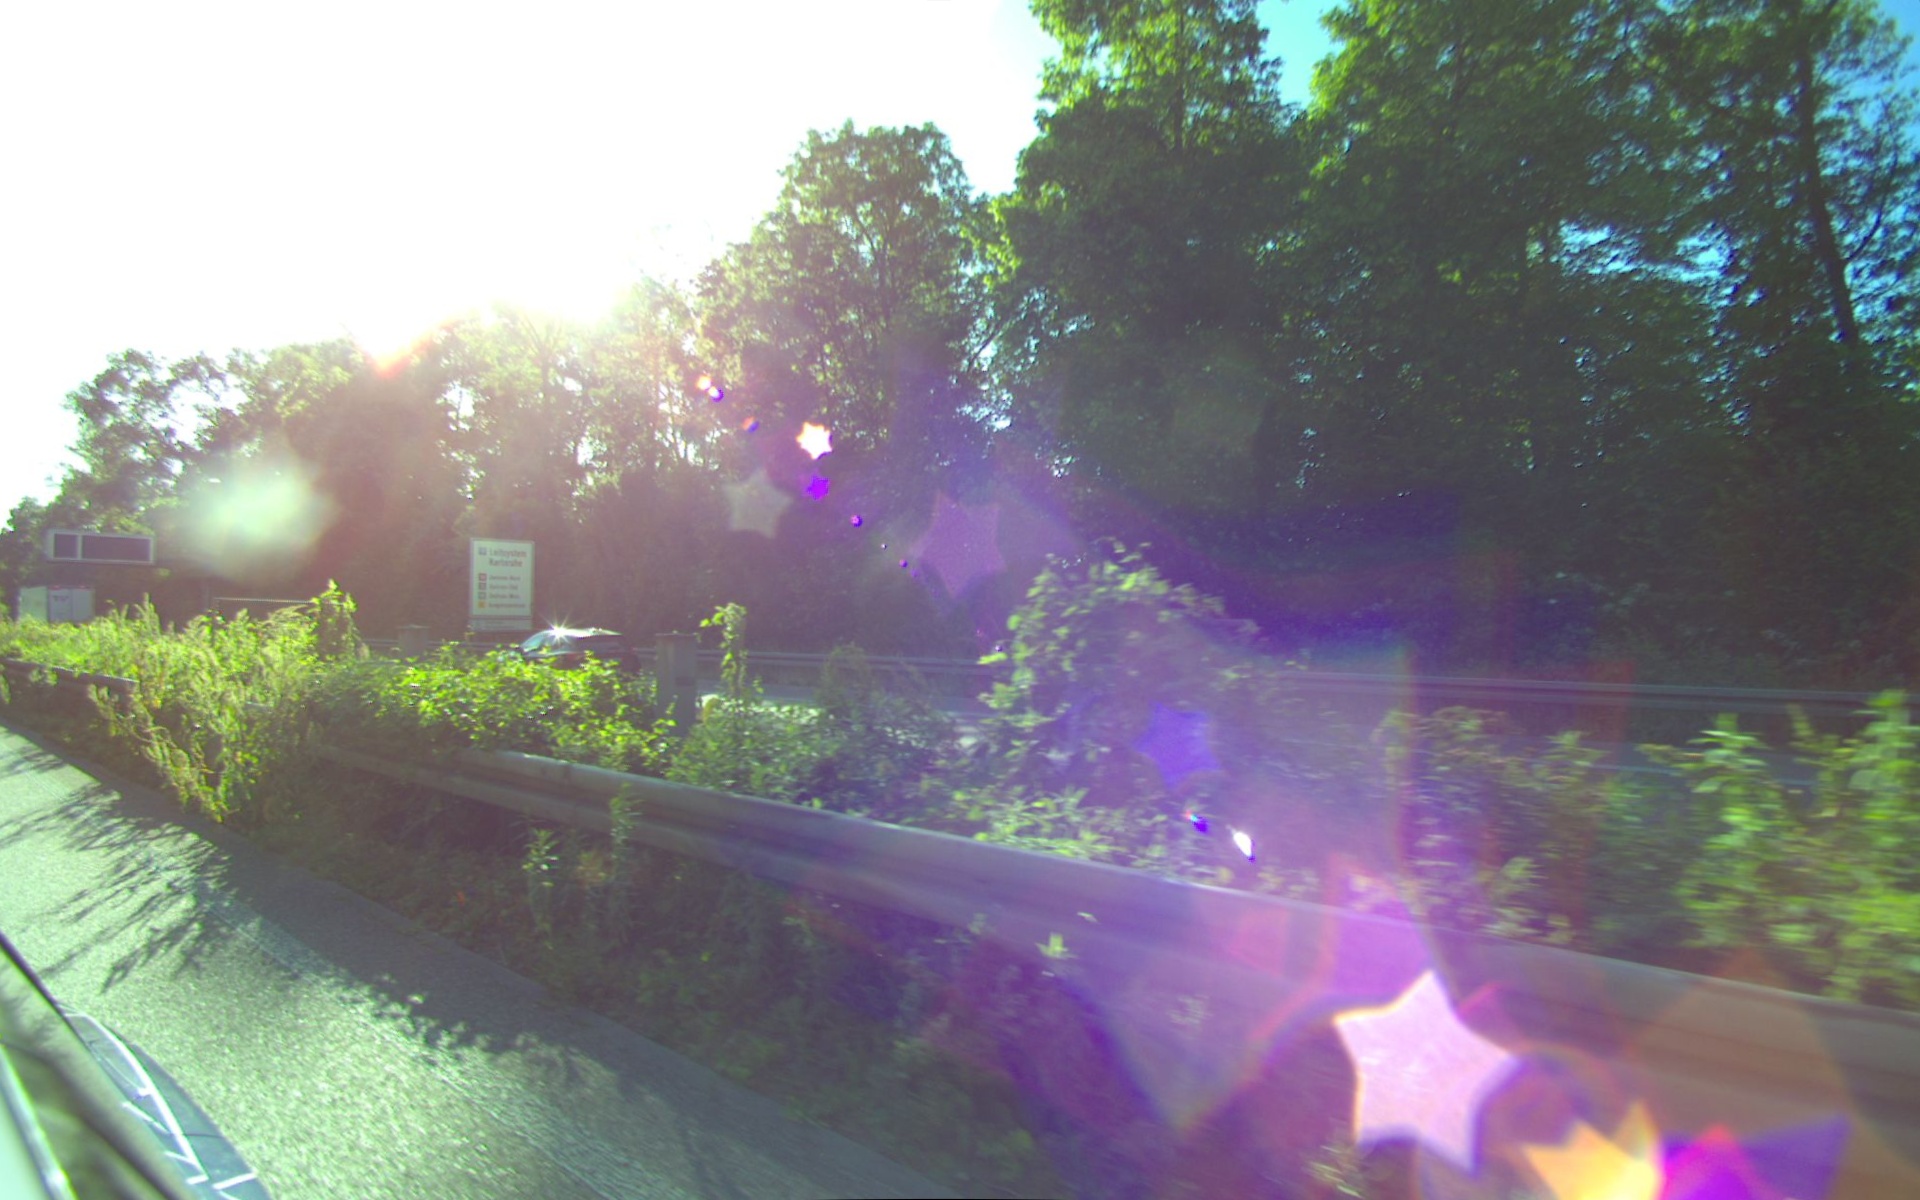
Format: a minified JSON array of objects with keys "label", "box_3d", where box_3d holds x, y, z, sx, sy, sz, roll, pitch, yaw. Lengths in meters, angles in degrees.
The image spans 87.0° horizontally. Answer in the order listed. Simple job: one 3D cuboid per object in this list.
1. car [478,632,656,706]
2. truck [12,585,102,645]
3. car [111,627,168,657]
[{"label":"car","box_3d":[-9.103,1.510,23.282,4.507,1.434,1.973,-1,0,41]},{"label":"truck","box_3d":[-66.516,1.151,74.381,14.444,4.043,3.210,-2,-1,41]},{"label":"car","box_3d":[-43.886,2.223,54.100,3.790,1.484,1.745,-1,0,41]}]
